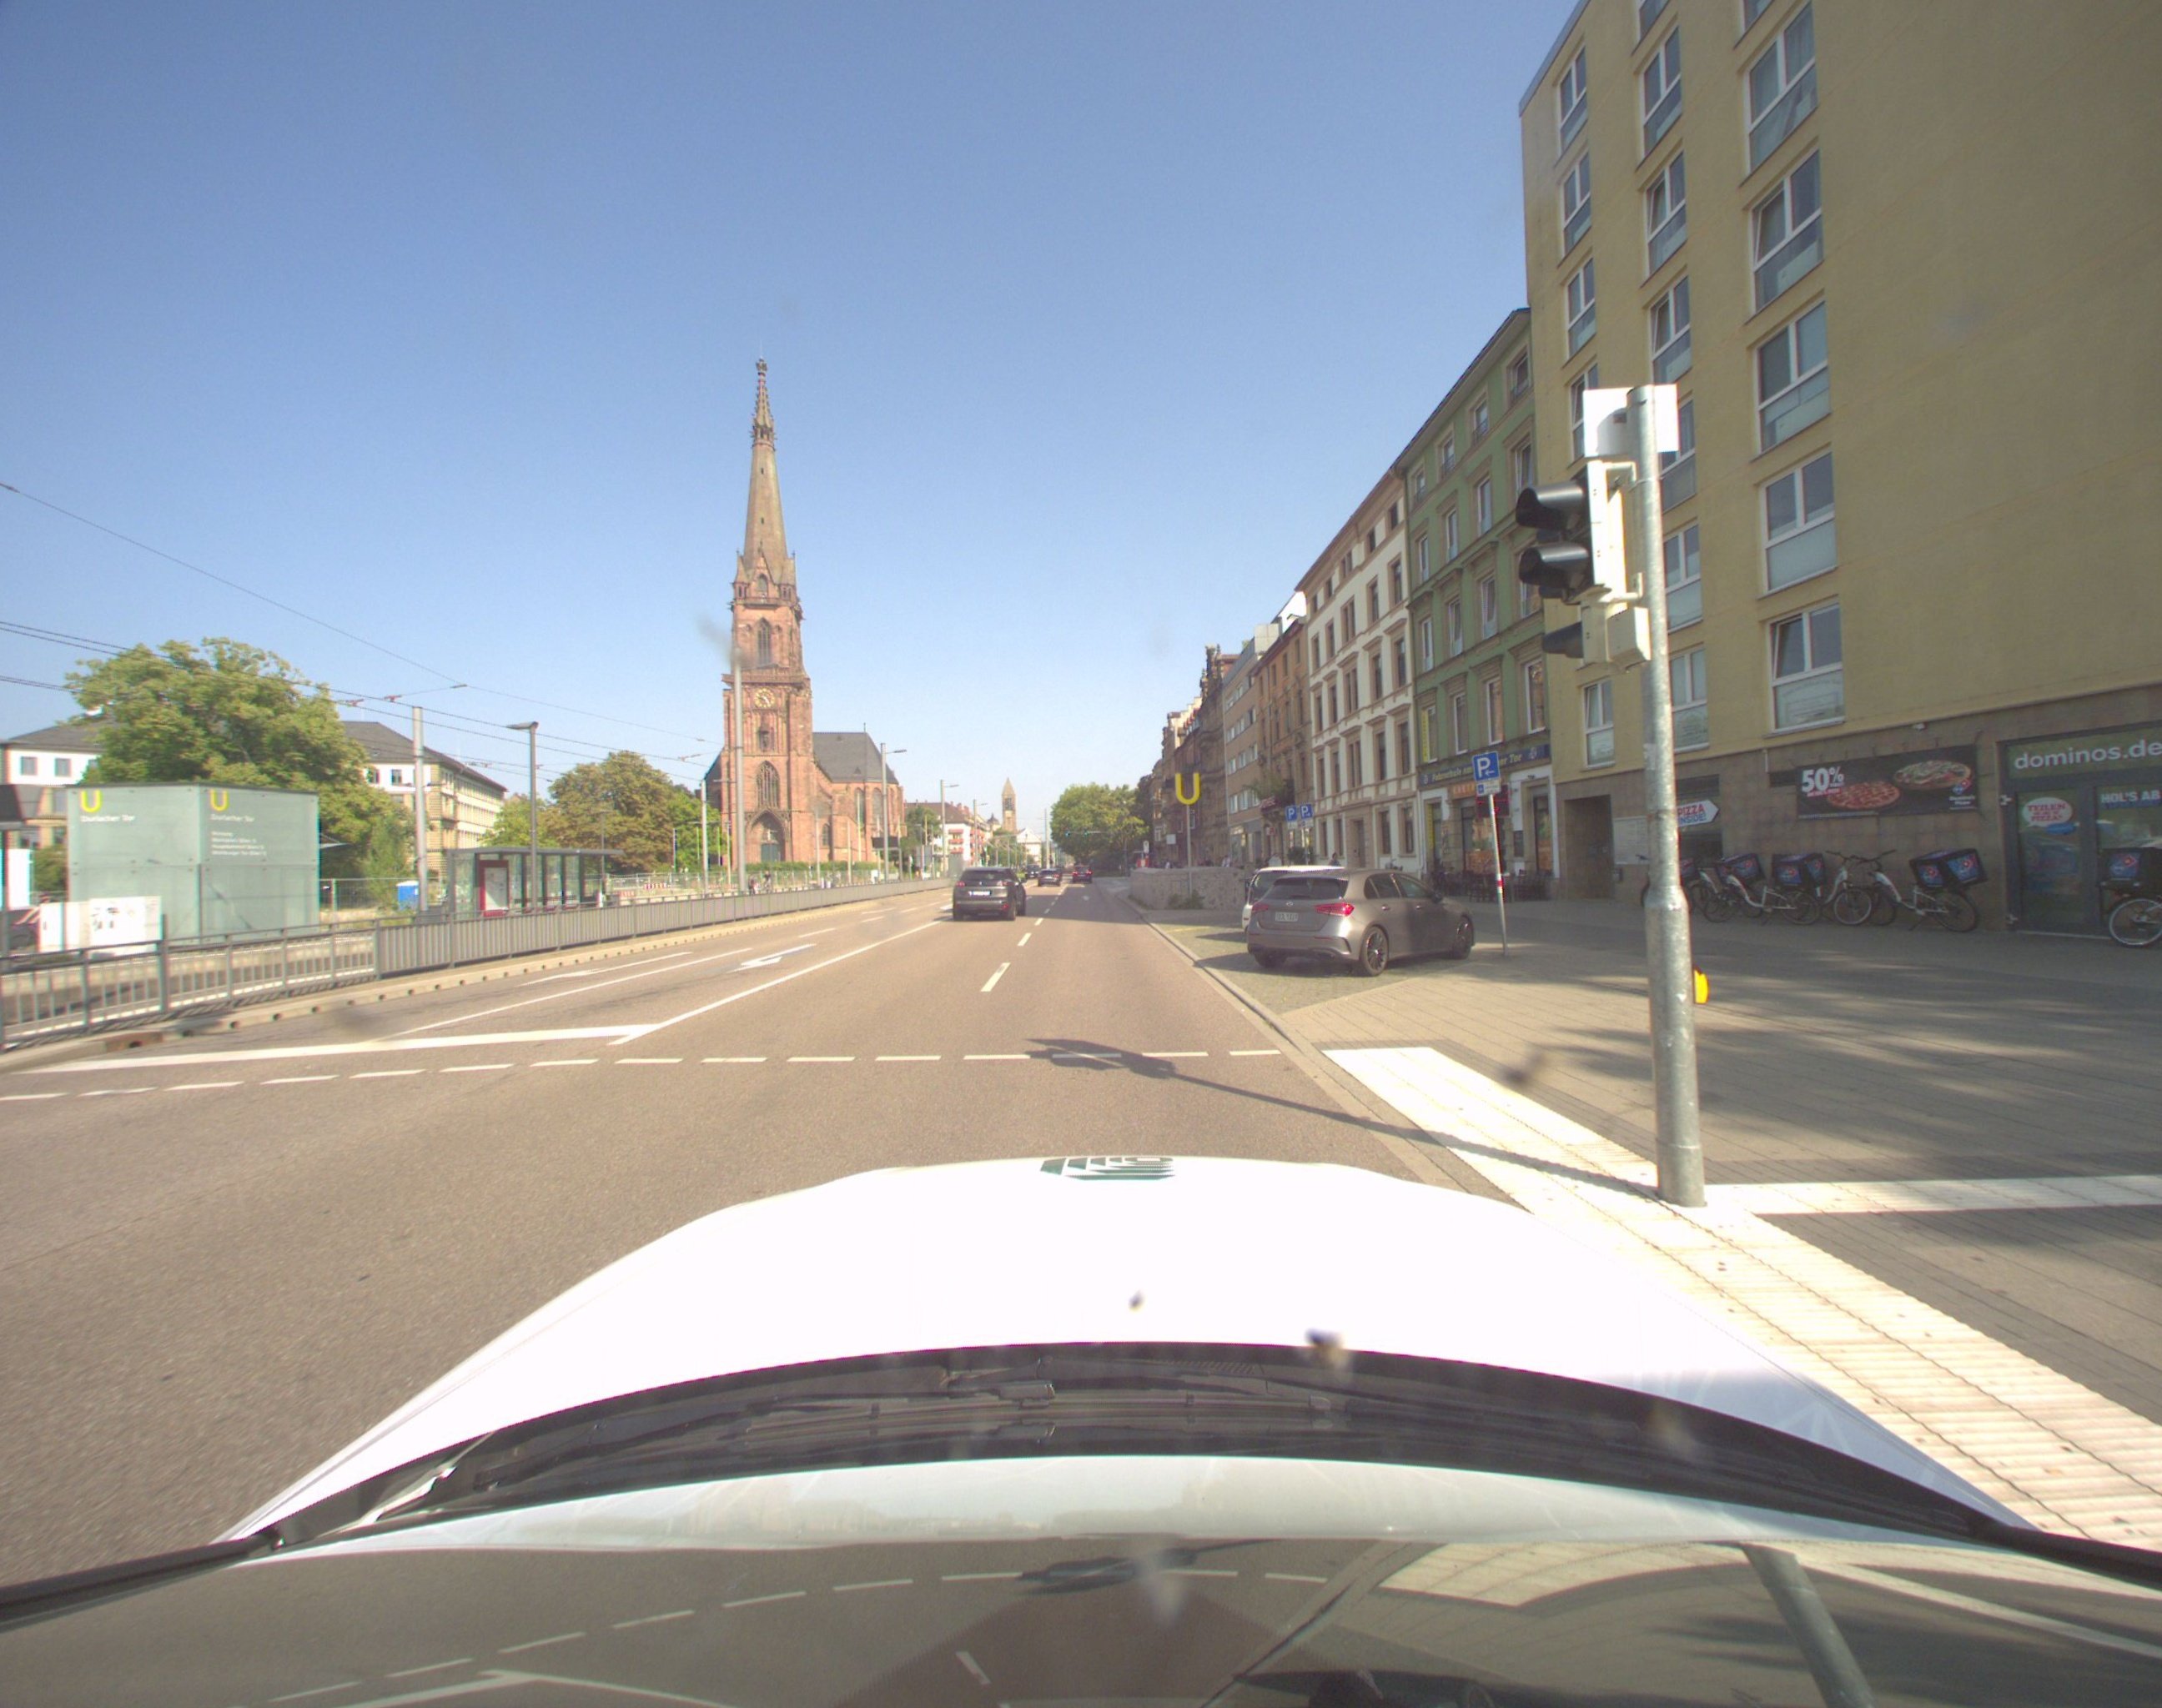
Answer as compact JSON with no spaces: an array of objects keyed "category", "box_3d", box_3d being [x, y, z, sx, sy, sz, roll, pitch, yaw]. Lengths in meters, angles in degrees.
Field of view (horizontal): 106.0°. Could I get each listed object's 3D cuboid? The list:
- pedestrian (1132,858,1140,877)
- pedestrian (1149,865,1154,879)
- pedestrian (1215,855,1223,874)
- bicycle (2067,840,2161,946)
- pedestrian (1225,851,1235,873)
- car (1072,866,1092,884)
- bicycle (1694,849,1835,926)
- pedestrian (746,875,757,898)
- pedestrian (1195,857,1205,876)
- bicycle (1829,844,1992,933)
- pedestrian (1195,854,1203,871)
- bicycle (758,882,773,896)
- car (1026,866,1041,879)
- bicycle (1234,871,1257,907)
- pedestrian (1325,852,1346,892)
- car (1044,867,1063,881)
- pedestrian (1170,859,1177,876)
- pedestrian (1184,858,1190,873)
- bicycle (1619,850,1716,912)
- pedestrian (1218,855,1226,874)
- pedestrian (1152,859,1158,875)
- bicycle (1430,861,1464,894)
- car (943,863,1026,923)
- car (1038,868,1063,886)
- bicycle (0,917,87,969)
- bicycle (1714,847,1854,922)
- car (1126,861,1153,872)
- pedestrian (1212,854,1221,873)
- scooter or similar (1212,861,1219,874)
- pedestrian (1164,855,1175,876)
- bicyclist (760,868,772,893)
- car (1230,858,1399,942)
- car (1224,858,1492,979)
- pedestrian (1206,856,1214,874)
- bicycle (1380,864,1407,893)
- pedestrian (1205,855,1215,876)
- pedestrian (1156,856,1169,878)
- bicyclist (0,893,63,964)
[{"category":"pedestrian","box_3d":[5.231,1.274,77.130,0.563,1.729,0.744,-2,-1,-4]},{"category":"pedestrian","box_3d":[6.410,1.646,74.235,0.275,1.274,0.447,-2,-1,-7]},{"category":"pedestrian","box_3d":[12.825,0.995,75.567,0.602,1.692,0.586,-2,-1,-4]},{"category":"bicycle","box_3d":[13.133,0.458,9.801,0.467,1.261,1.636,-2,-1,-1]},{"category":"pedestrian","box_3d":[12.471,0.705,68.384,0.602,1.832,0.741,-2,-1,-4]},{"category":"car","box_3d":[0.125,1.981,77.413,1.825,1.621,4.356,-1,-1,0]},{"category":"bicycle","box_3d":[12.087,0.568,14.501,0.602,1.261,1.992,-2,-1,-8]},{"category":"pedestrian","box_3d":[-24.042,2.371,59.458,0.515,1.700,0.664,-2,-1,-1]},{"category":"pedestrian","box_3d":[10.362,1.078,70.943,0.717,1.610,0.856,-2,-1,1]},{"category":"bicycle","box_3d":[12.865,0.512,12.719,0.600,1.261,1.848,-2,-1,-1]},{"category":"pedestrian","box_3d":[12.000,0.832,82.827,0.627,1.719,0.690,-2,-1,-1]},{"category":"bicycle","box_3d":[-22.855,2.557,58.984,0.349,0.954,1.695,-2,-1,0]},{"category":"car","box_3d":[-6.014,2.343,103.097,1.735,1.527,3.871,-2,-1,-1]},{"category":"bicycle","box_3d":[5.496,1.155,27.276,0.382,1.134,1.790,-2,-1,0]},{"category":"pedestrian","box_3d":[10.619,0.760,34.026,0.606,1.629,0.737,-2,-1,0]},{"category":"car","box_3d":[-2.942,2.128,88.484,1.858,1.424,4.356,-1,-1,0]},{"category":"pedestrian","box_3d":[9.825,1.404,86.274,0.614,1.804,1.071,-2,-1,1]},{"category":"pedestrian","box_3d":[11.242,1.236,86.316,0.484,1.610,0.813,-2,-1,1]},{"category":"bicycle","box_3d":[12.641,0.561,17.633,0.600,1.261,1.997,-2,-1,0]},{"category":"pedestrian","box_3d":[12.875,0.934,74.436,0.602,1.731,0.510,-2,-1,-4]},{"category":"pedestrian","box_3d":[8.260,1.463,91.190,0.480,1.702,0.702,-2,-1,-3]},{"category":"bicycle","box_3d":[13.125,0.833,29.242,0.382,1.134,1.719,-2,-1,0]},{"category":"car","box_3d":[-2.890,1.118,25.311,1.987,1.621,4.356,-2,-1,0]},{"category":"car","box_3d":[-2.468,1.861,66.660,1.858,1.424,4.356,-1,-1,0]},{"category":"bicycle","box_3d":[-25.631,2.174,19.969,0.400,1.109,1.745,-2,-1,-1]},{"category":"bicycle","box_3d":[12.775,0.538,14.886,0.602,1.261,1.992,-2,-1,-8]},{"category":"car","box_3d":[9.451,1.961,131.780,4.173,1.563,1.997,-2,-1,-5]},{"category":"pedestrian","box_3d":[12.692,0.900,76.277,0.602,1.692,0.586,-2,-1,-4]},{"category":"scooter or similar","box_3d":[12.104,1.196,73.296,0.359,1.163,1.151,-2,-1,-3]},{"category":"pedestrian","box_3d":[7.752,0.994,71.092,0.748,1.729,0.800,-2,-1,-4]},{"category":"bicyclist","box_3d":[-22.812,1.913,59.066,0.485,1.747,0.819,-2,-1,0]},{"category":"car","box_3d":[4.780,0.859,16.474,3.548,1.464,1.603,-1,-2,-42]},{"category":"car","box_3d":[4.277,0.833,12.187,4.433,1.423,1.825,-1,-2,-42]},{"category":"pedestrian","box_3d":[12.454,1.072,78.389,0.602,1.654,0.586,-2,-1,-4]},{"category":"bicycle","box_3d":[12.848,1.005,33.517,0.382,1.134,1.719,-2,-1,0]},{"category":"pedestrian","box_3d":[11.216,0.964,70.950,0.717,1.787,0.856,-2,-1,1]},{"category":"pedestrian","box_3d":[6.739,1.081,67.304,0.923,1.832,0.800,-2,-1,-4]},{"category":"bicyclist","box_3d":[-25.674,1.806,19.896,0.585,1.657,0.790,-2,-1,0]}]
